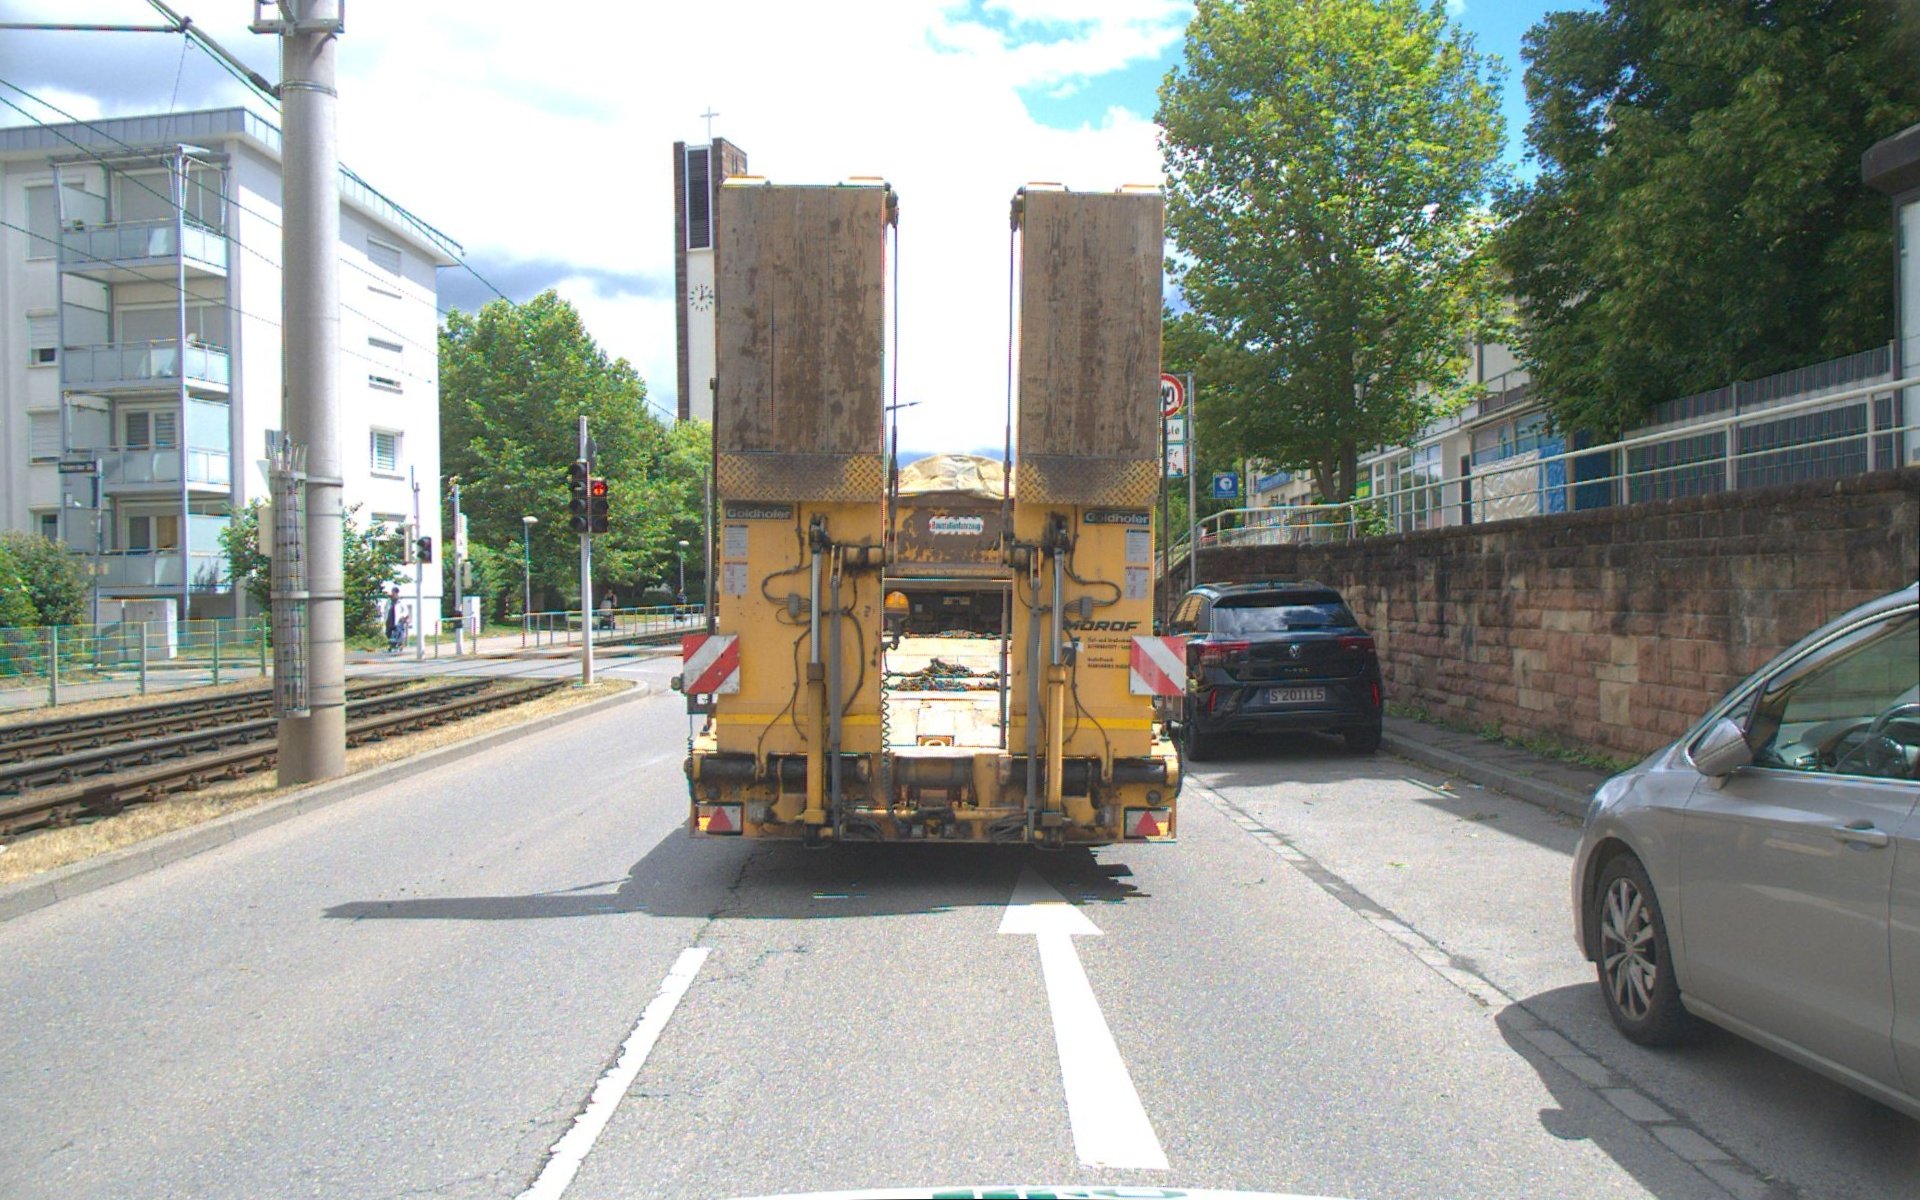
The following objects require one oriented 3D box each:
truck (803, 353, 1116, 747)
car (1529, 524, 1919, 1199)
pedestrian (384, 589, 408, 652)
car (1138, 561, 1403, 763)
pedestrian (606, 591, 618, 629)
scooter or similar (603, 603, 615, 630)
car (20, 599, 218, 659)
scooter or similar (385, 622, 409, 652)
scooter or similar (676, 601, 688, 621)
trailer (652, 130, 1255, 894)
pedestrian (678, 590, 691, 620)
[{"bbox_3d":[-0.011,-0.478,17.794,2.882,3.635,4.876,0,0,0],"label":"truck"},{"bbox_3d":[3.141,0.613,4.247,1.754,1.646,4.247,-2,0,-2],"label":"car"},{"bbox_3d":[-14.599,0.520,42.787,0.428,1.608,0.475,0,0,4],"label":"pedestrian"},{"bbox_3d":[2.889,0.525,16.252,1.813,1.668,4.000,-2,0,0],"label":"car"},{"bbox_3d":[-14.314,0.411,68.122,0.341,1.564,0.557,0,0,3],"label":"pedestrian"},{"bbox_3d":[-14.321,0.652,67.471,0.331,1.076,0.688,0,1,2],"label":"scooter or similar"},{"bbox_3d":[-20.614,0.699,40.618,3.902,1.369,1.903,-1,0,7],"label":"car"},{"bbox_3d":[-14.404,0.944,42.303,0.428,0.760,0.475,0,0,4],"label":"scooter or similar"},{"bbox_3d":[-14.139,0.540,84.177,0.495,0.988,0.645,1,0,-2],"label":"scooter or similar"},{"bbox_3d":[-0.019,-0.451,12.319,2.885,3.664,8.683,0,0,0],"label":"trailer"},{"bbox_3d":[-14.128,0.270,84.834,0.552,1.540,0.645,1,0,-2],"label":"pedestrian"}]
